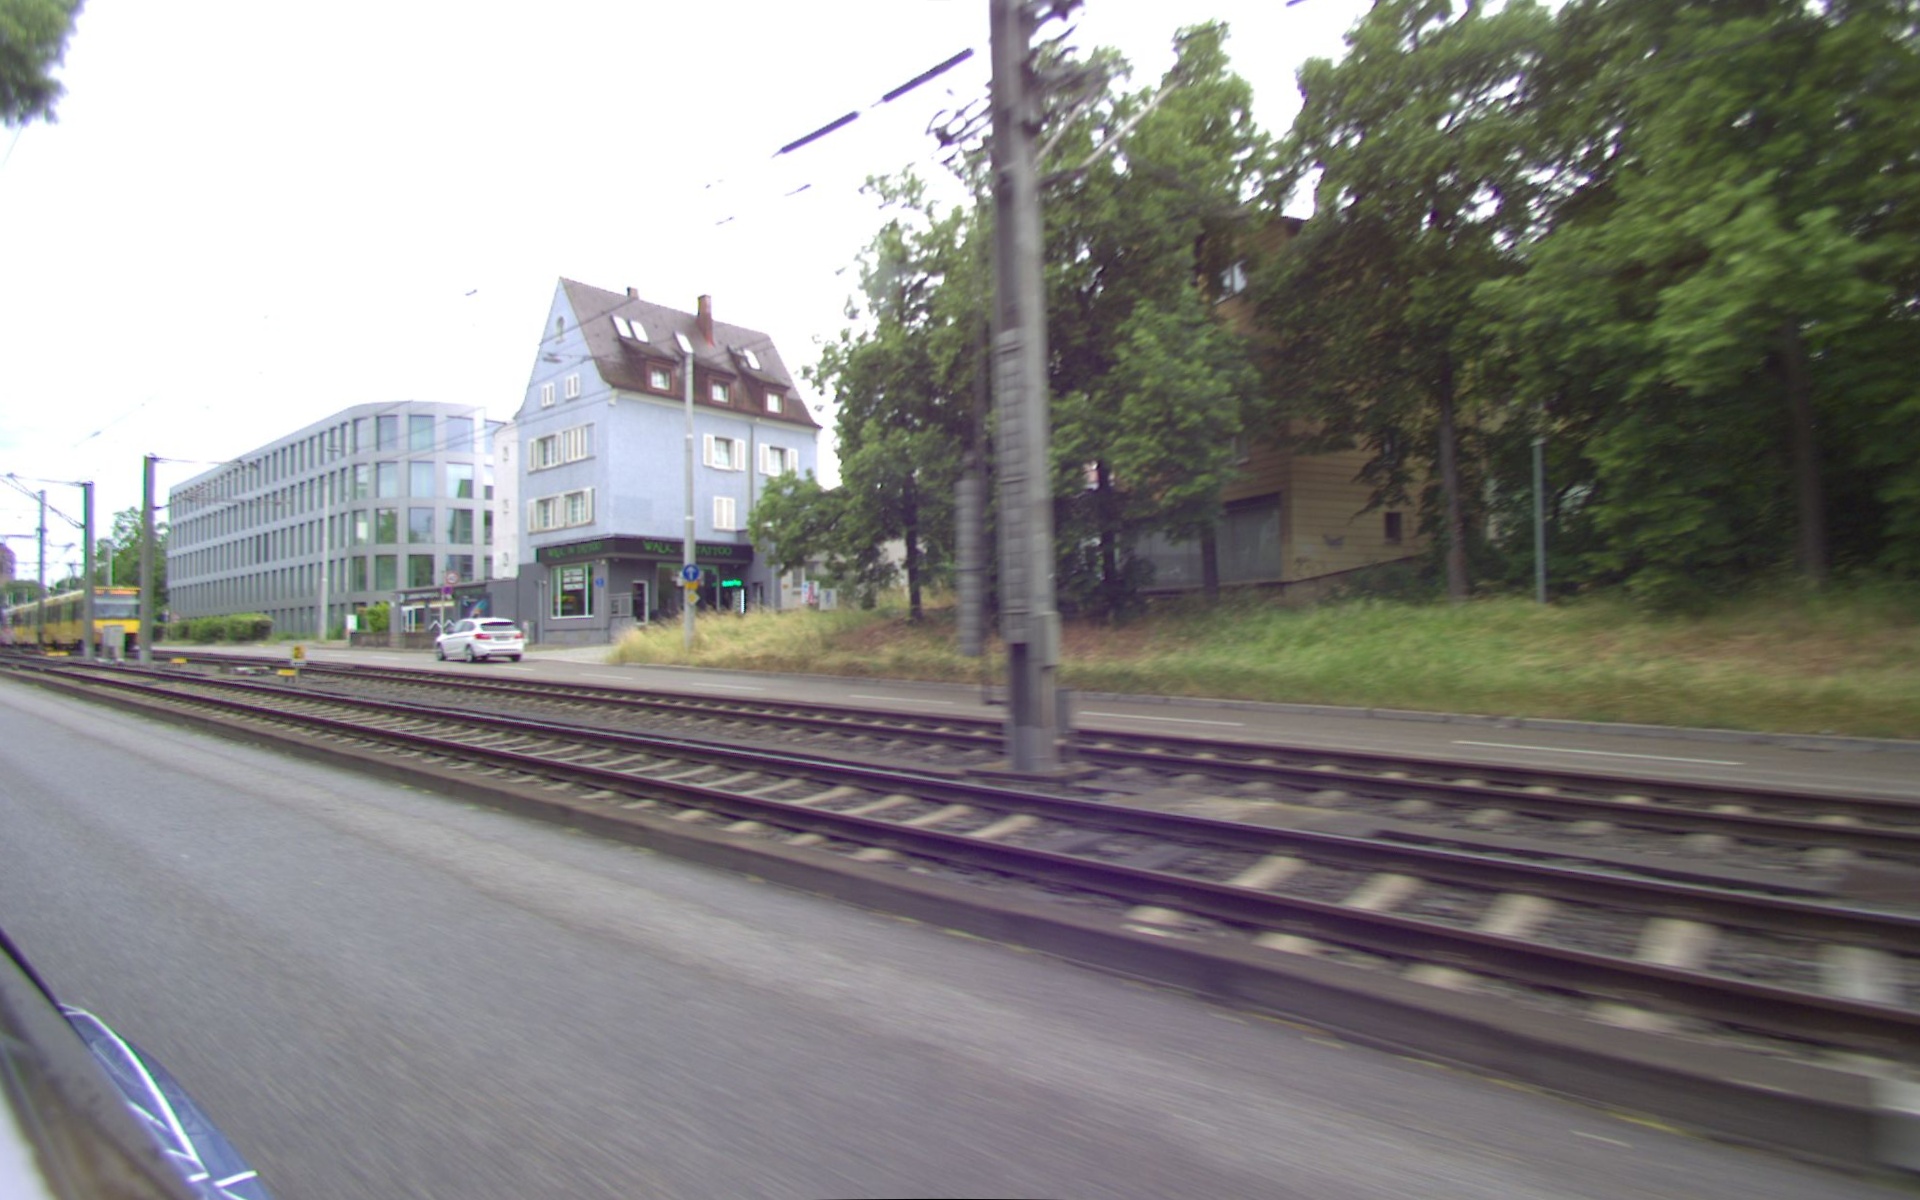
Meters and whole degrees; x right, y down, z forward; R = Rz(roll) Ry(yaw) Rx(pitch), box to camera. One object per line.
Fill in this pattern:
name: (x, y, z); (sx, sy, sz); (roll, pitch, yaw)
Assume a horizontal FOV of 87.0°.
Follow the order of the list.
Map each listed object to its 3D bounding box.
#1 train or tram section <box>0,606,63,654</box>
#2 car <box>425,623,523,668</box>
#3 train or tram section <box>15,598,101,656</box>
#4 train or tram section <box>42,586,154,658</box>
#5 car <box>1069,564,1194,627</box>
train or tram section: (-81.011, 2.693, 87.855); (18.612, 3.840, 2.935); (-2, -2, 43)
car: (-17.665, 1.625, 36.697); (4.379, 1.541, 1.635); (-2, -2, 42)
train or tram section: (-67.274, 2.112, 75.211); (19.096, 3.840, 2.935); (-2, -2, 43)
train or tram section: (-53.024, 1.507, 61.885); (19.517, 3.840, 2.935); (-2, -2, 43)
car: (5.879, -0.079, 35.195); (1.934, 2.029, 4.228); (1, -2, -33)
